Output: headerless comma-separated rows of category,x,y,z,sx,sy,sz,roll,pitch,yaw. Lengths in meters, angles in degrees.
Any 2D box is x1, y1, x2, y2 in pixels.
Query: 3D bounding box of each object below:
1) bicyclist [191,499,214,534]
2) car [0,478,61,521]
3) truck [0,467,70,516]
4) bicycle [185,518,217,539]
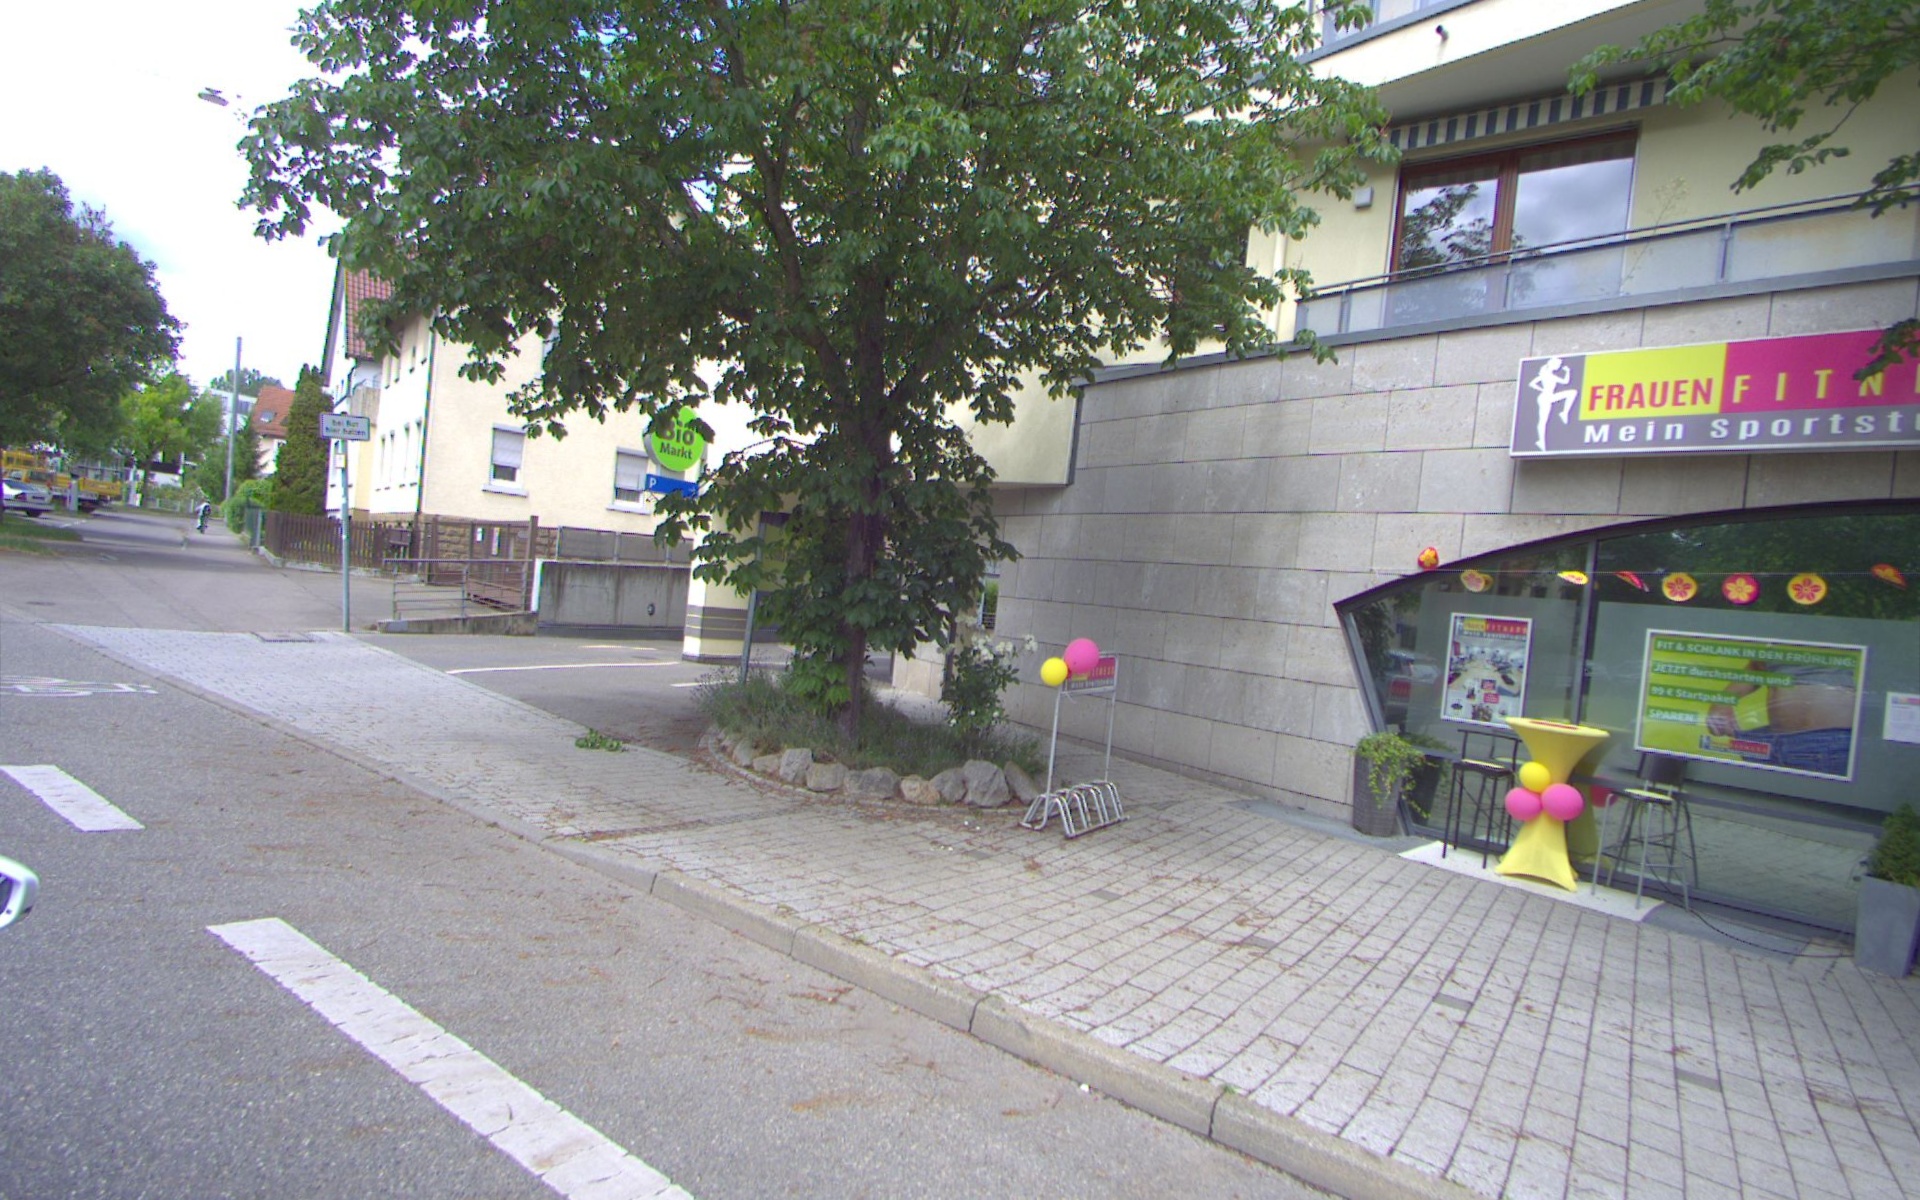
bicyclist,-36.395,-3.998,48.328,0.557,1.577,0.590,7,-1,31
car,-40.127,-4.347,41.370,4.603,1.469,1.768,7,0,0
truck,-50.175,-5.889,52.538,5.571,2.037,2.002,7,-1,4
bicycle,-36.470,-3.420,48.319,1.725,0.821,0.595,7,-1,32
